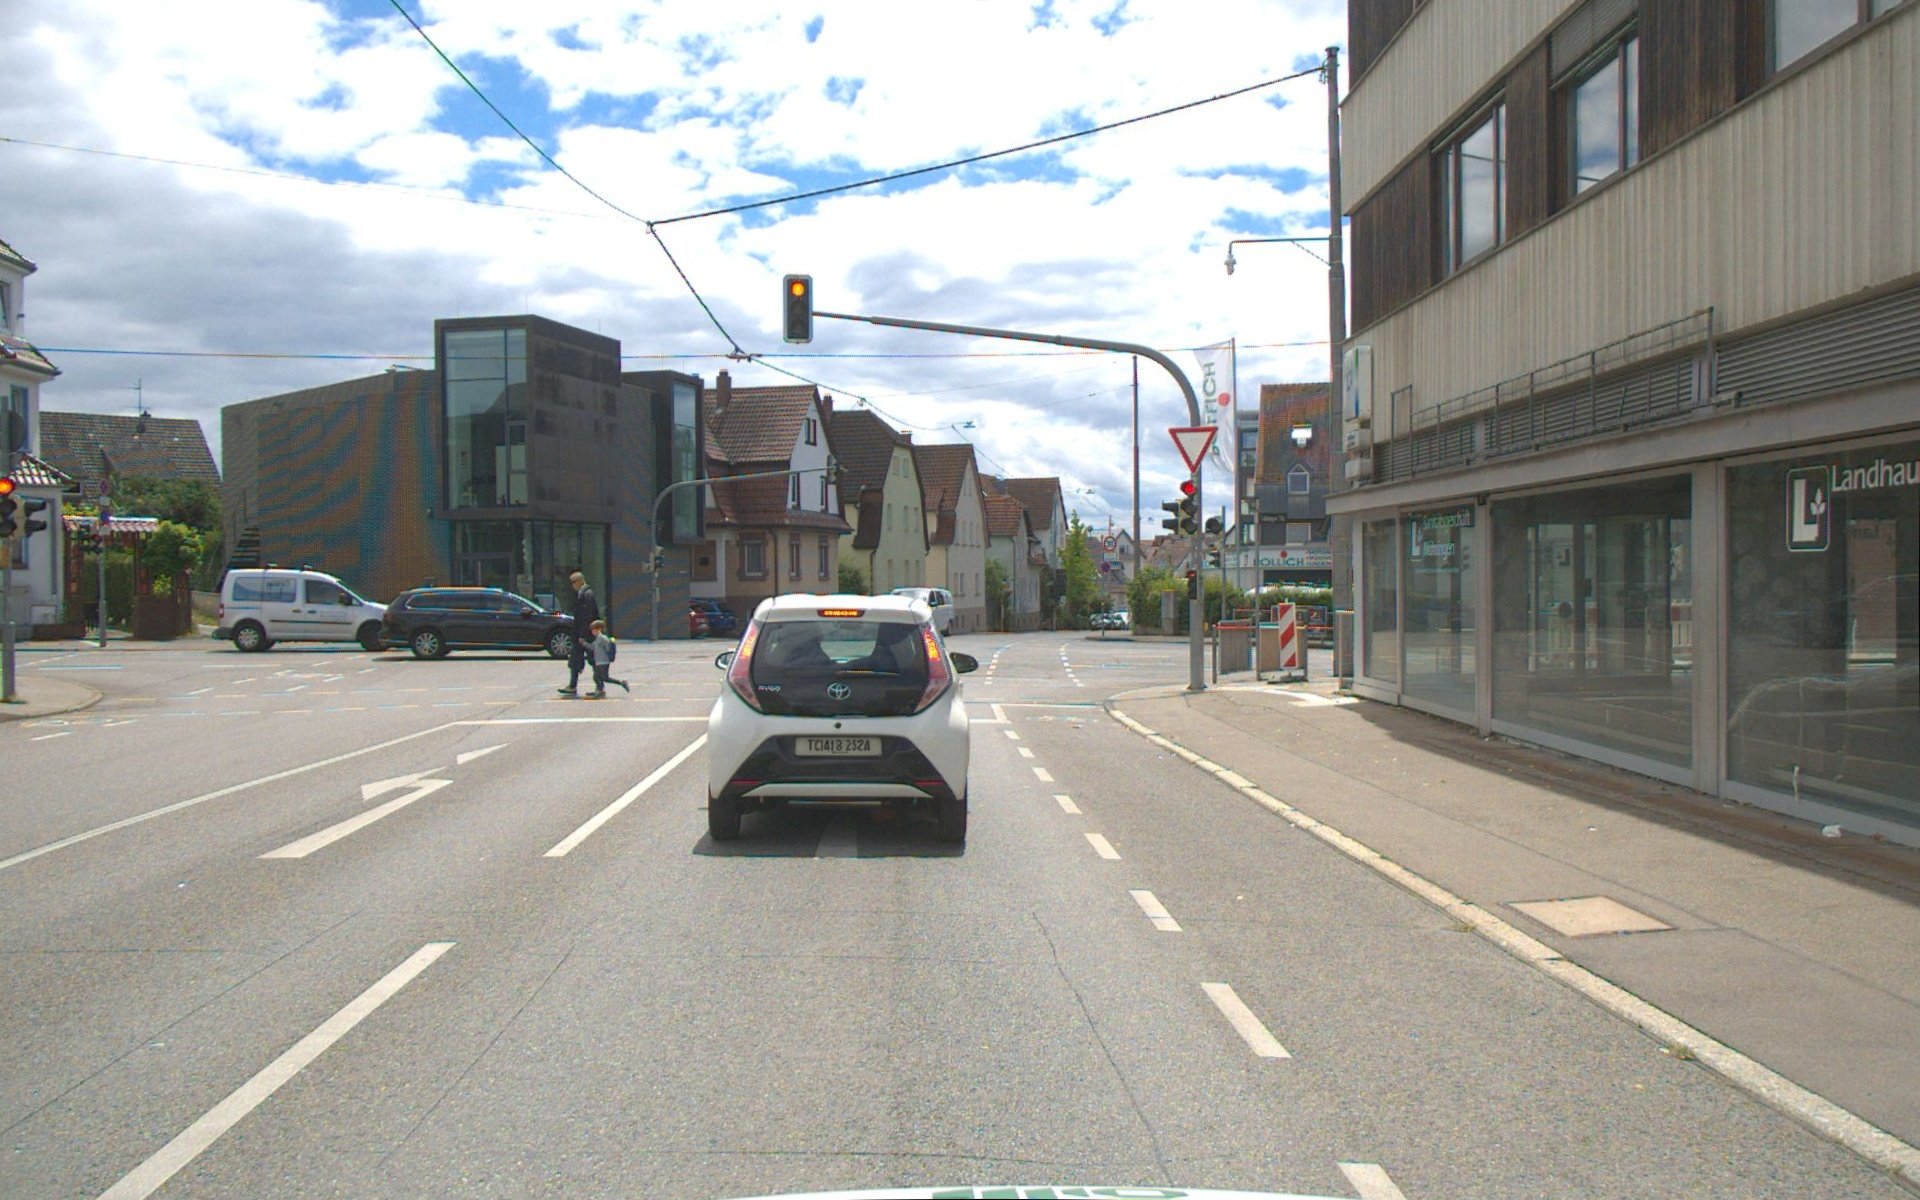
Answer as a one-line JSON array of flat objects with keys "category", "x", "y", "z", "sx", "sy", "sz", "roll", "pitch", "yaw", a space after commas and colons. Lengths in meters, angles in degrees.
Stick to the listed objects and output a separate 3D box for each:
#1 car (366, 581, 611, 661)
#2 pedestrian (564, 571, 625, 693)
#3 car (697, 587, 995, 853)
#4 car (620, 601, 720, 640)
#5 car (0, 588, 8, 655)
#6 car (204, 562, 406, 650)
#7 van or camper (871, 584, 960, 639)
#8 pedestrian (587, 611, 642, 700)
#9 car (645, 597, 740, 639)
[{"category": "car", "x": -9.990, "y": 0.443, "z": 35.390, "sx": 4.806, "sy": 1.605, "sz": 1.996, "roll": 1, "pitch": 0, "yaw": -10}, {"category": "pedestrian", "x": -5.355, "y": 0.459, "z": 24.220, "sx": 0.809, "sy": 1.751, "sz": 0.813, "roll": 0, "pitch": 0, "yaw": -18}, {"category": "car", "x": -0.734, "y": 0.685, "z": 11.055, "sx": 1.663, "sy": 1.482, "sz": 3.297, "roll": 1, "pitch": 0, "yaw": -3}, {"category": "car", "x": -11.572, "y": 0.824, "z": 66.123, "sx": 3.537, "sy": 1.444, "sz": 1.693, "roll": 1, "pitch": 0, "yaw": 10}, {"category": "car", "x": -23.404, "y": 0.447, "z": 36.301, "sx": 3.921, "sy": 1.512, "sz": 1.992, "roll": 1, "pitch": 0, "yaw": -16}, {"category": "car", "x": -14.938, "y": 0.146, "z": 37.955, "sx": 3.990, "sy": 1.881, "sz": 1.993, "roll": 1, "pitch": 0, "yaw": -13}, {"category": "van or camper", "x": -1.631, "y": 0.425, "z": 63.338, "sx": 2.070, "sy": 1.959, "sz": 5.289, "roll": 1, "pitch": 0, "yaw": 13}, {"category": "pedestrian", "x": -4.949, "y": 0.779, "z": 23.682, "sx": 0.722, "sy": 1.243, "sz": 0.642, "roll": 0, "pitch": 0, "yaw": -18}, {"category": "car", "x": -11.102, "y": 0.740, "z": 68.752, "sx": 3.537, "sy": 1.633, "sz": 1.693, "roll": 1, "pitch": 0, "yaw": 10}]
